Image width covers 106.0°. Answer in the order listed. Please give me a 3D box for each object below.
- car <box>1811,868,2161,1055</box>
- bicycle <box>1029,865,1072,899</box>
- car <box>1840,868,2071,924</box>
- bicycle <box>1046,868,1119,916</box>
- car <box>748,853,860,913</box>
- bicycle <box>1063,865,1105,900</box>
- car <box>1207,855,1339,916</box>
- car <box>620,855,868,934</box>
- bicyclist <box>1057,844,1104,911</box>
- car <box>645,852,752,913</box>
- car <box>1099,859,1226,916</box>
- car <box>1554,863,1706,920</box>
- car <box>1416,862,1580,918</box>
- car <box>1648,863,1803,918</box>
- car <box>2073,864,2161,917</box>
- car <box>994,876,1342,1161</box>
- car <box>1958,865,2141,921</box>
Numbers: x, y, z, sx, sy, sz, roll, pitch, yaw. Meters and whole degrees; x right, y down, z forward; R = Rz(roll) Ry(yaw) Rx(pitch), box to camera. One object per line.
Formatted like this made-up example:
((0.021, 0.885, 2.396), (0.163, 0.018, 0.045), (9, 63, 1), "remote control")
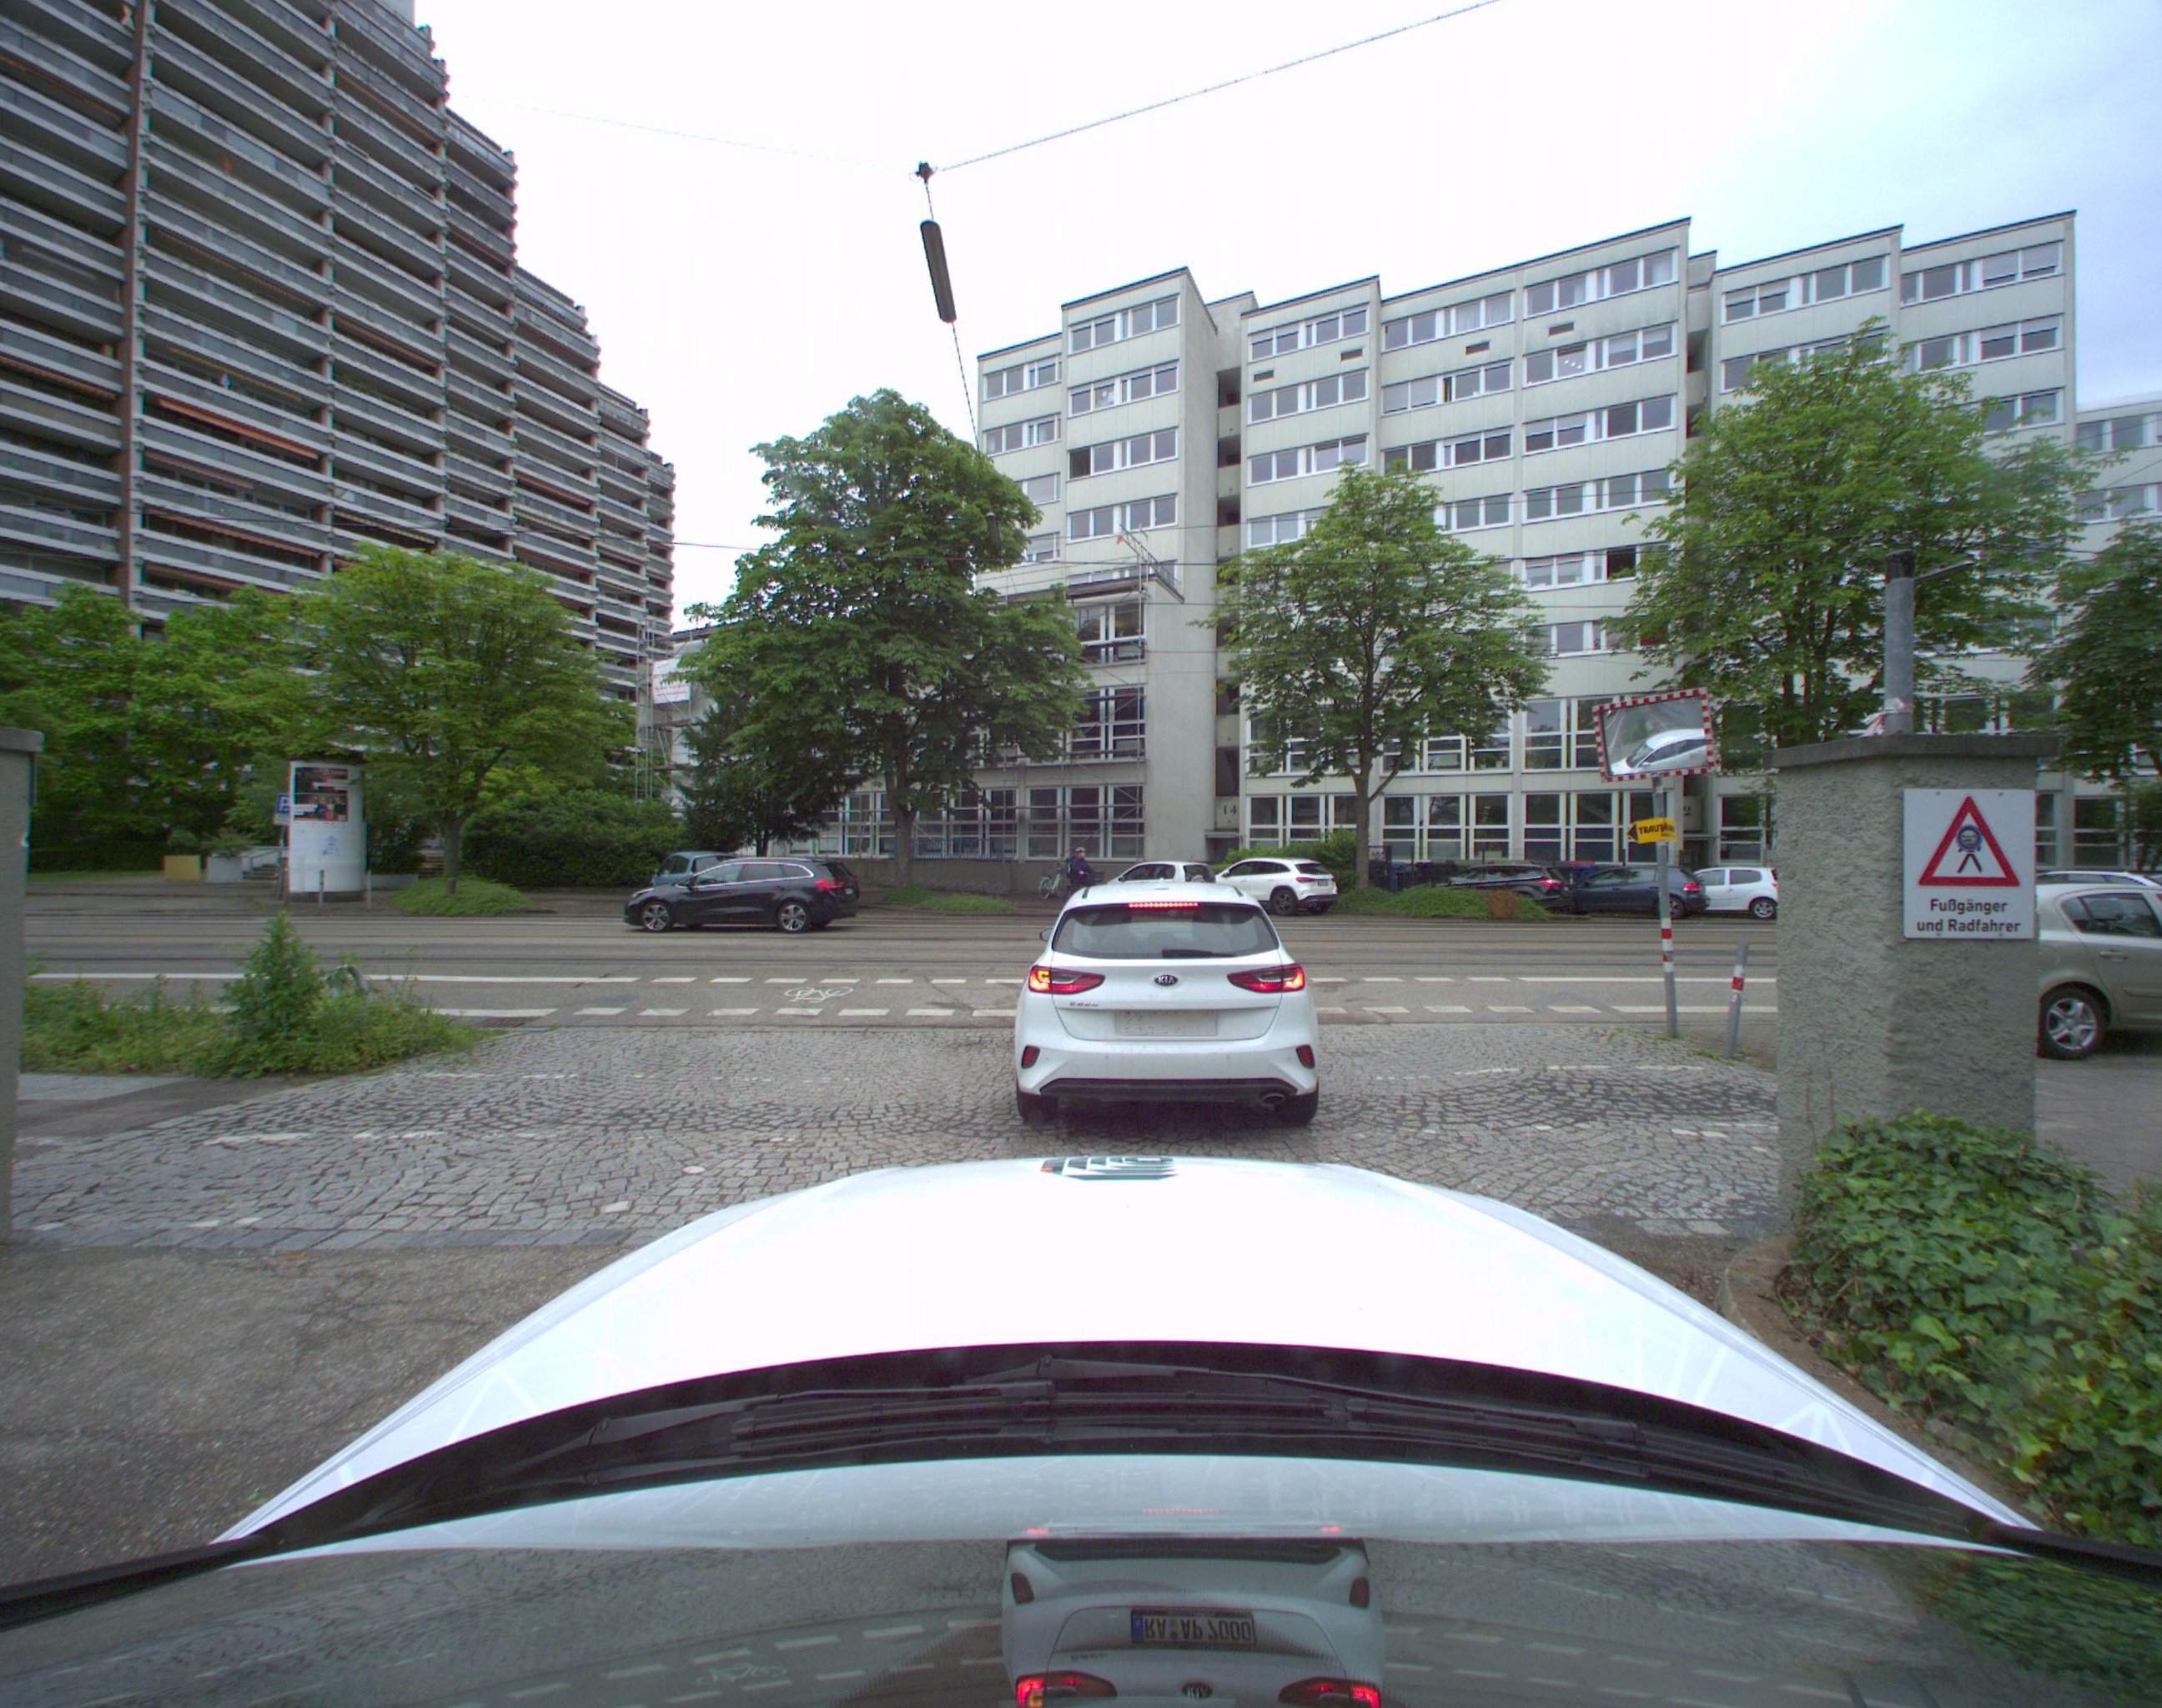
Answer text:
((9.249, 0.902, 7.511), (3.570, 1.501, 1.665), (0, 0, 0), "car")
((-1.079, 0.984, 29.262), (0.638, 1.074, 2.325), (0, 2, 22), "bicycle")
((25.152, 1.171, 23.692), (4.441, 1.474, 1.425), (-1, -3, 42), "car")
((0.013, 0.971, 21.280), (0.826, 1.174, 1.892), (1, 0, -43), "bicycle")
((-7.619, 0.751, 22.296), (1.628, 1.511, 3.295), (0, -1, -45), "car")
((0.132, 0.996, 28.752), (0.638, 1.074, 2.325), (0, 2, 22), "bicycle")
((5.390, 0.841, 23.150), (1.565, 1.618, 3.367), (0, -1, -42), "car")
((-6.665, 0.777, 16.498), (4.231, 1.490, 1.821), (0, 0, -3), "car")
((-0.012, 0.593, 21.336), (0.839, 1.698, 0.886), (1, -1, -43), "bicyclist")
((-10.504, 0.716, 22.292), (1.628, 1.537, 3.296), (0, 0, -45), "car")
((2.219, 0.887, 22.738), (1.565, 1.473, 3.367), (0, -1, -42), "car")
((15.413, 0.992, 22.960), (1.425, 1.474, 3.348), (0, -1, -44), "car")
((11.960, 0.971, 23.479), (3.904, 1.474, 1.684), (-1, -1, 42), "car")
((18.524, 0.999, 23.484), (1.425, 1.474, 3.348), (0, -1, -44), "car")
((31.575, 1.056, 23.680), (1.425, 1.474, 3.348), (0, 0, -44), "car")
((0.609, 0.891, 6.172), (1.767, 1.433, 3.984), (-1, -2, 5), "car")
((28.203, 1.092, 23.877), (1.425, 1.474, 3.348), (0, 0, -44), "car")
